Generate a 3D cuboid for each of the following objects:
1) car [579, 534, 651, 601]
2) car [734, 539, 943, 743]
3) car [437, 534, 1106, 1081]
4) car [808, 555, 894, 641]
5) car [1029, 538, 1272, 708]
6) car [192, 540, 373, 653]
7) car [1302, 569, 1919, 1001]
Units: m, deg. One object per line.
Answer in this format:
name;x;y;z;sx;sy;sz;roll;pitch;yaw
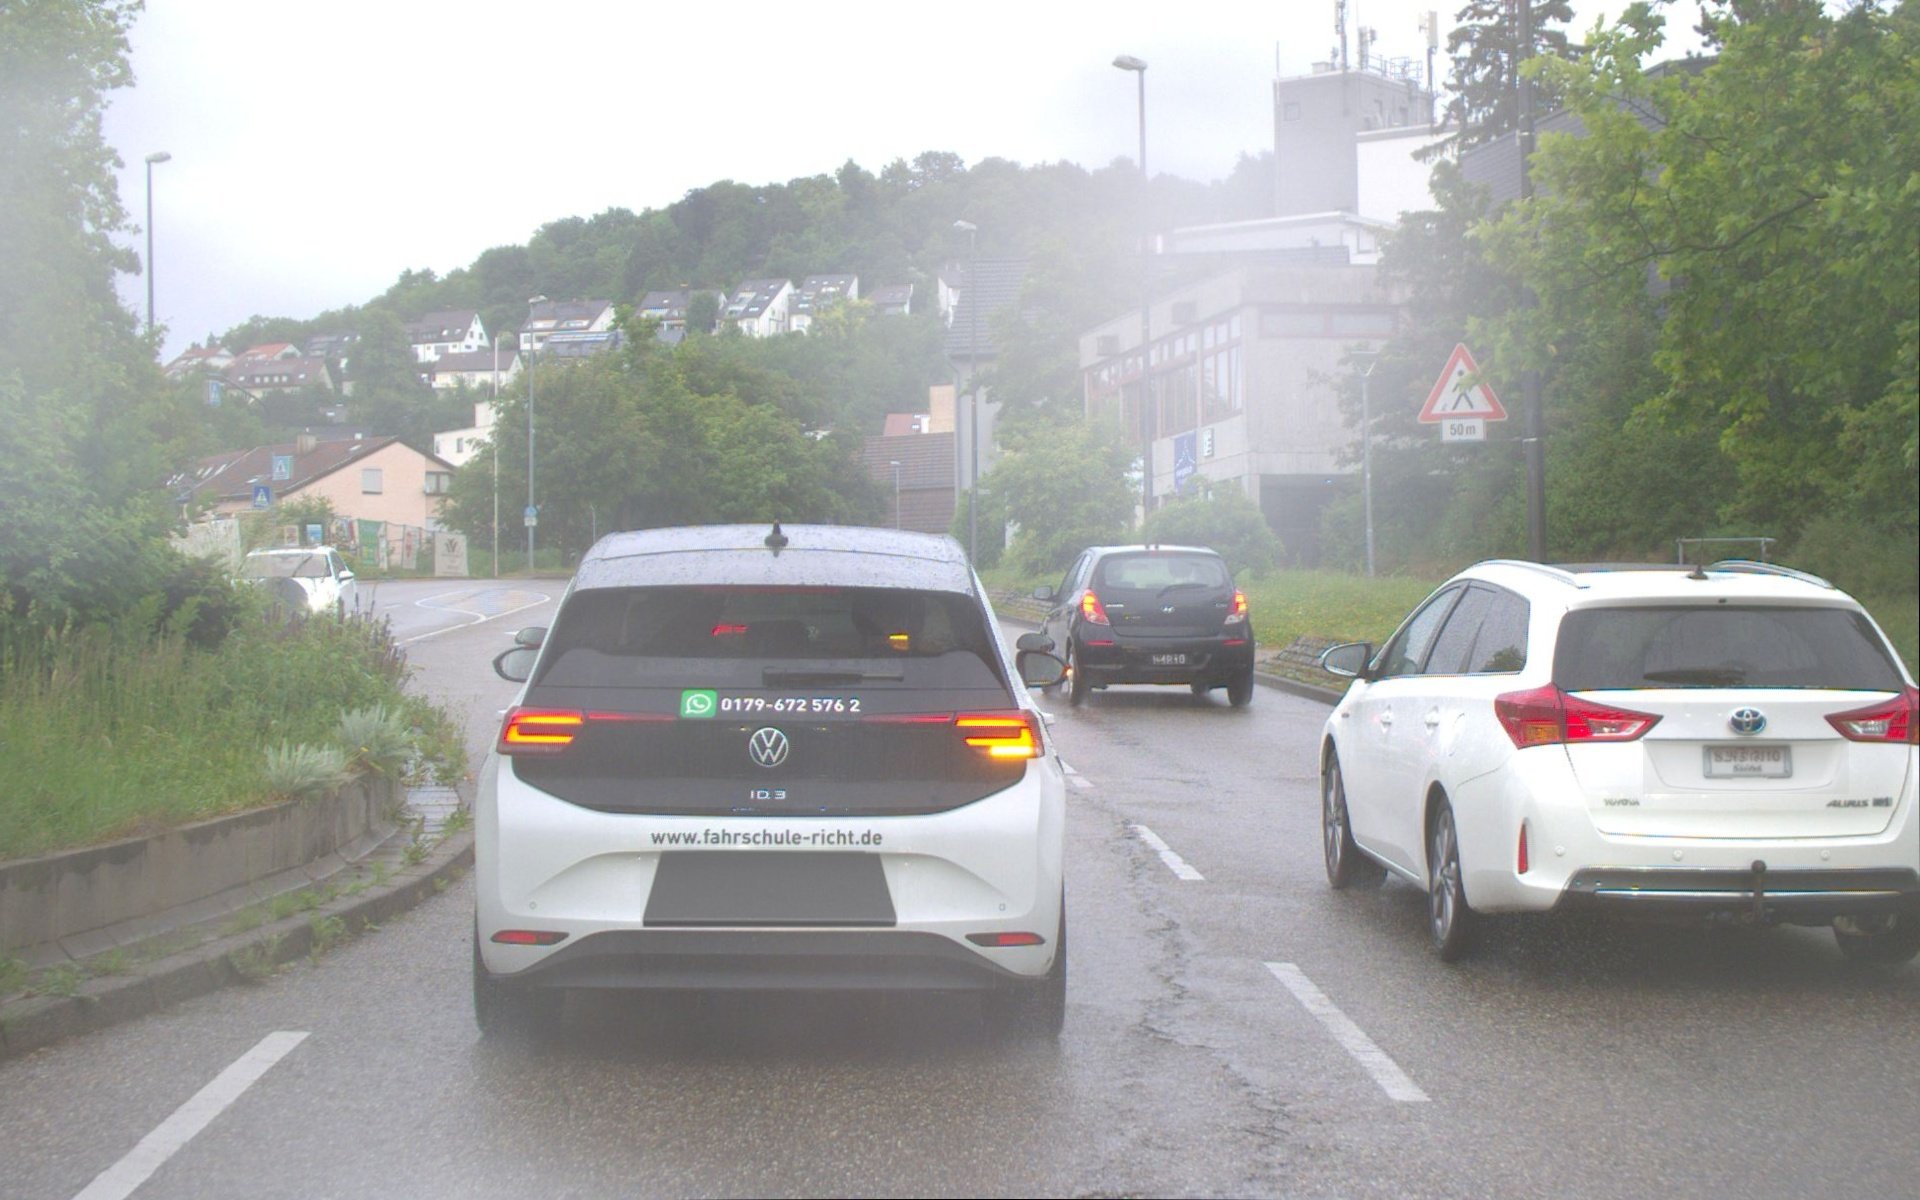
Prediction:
car;-10.838;-0.998;108.201;1.993;2.007;4.000;1;0;-3
car;-1.027;0.269;27.794;1.567;1.525;4.001;0;1;-3
car;-0.545;0.571;11.552;1.828;1.495;4.168;0;0;-1
car;-2.631;-0.055;83.961;1.993;2.007;4.000;1;0;-1
car;1.739;0.203;32.596;1.993;1.448;3.771;-2;0;-1
car;-10.467;-0.076;53.401;1.993;1.656;4.598;-1;1;-2
car;2.549;0.607;13.409;1.848;1.405;4.302;0;0;-2
